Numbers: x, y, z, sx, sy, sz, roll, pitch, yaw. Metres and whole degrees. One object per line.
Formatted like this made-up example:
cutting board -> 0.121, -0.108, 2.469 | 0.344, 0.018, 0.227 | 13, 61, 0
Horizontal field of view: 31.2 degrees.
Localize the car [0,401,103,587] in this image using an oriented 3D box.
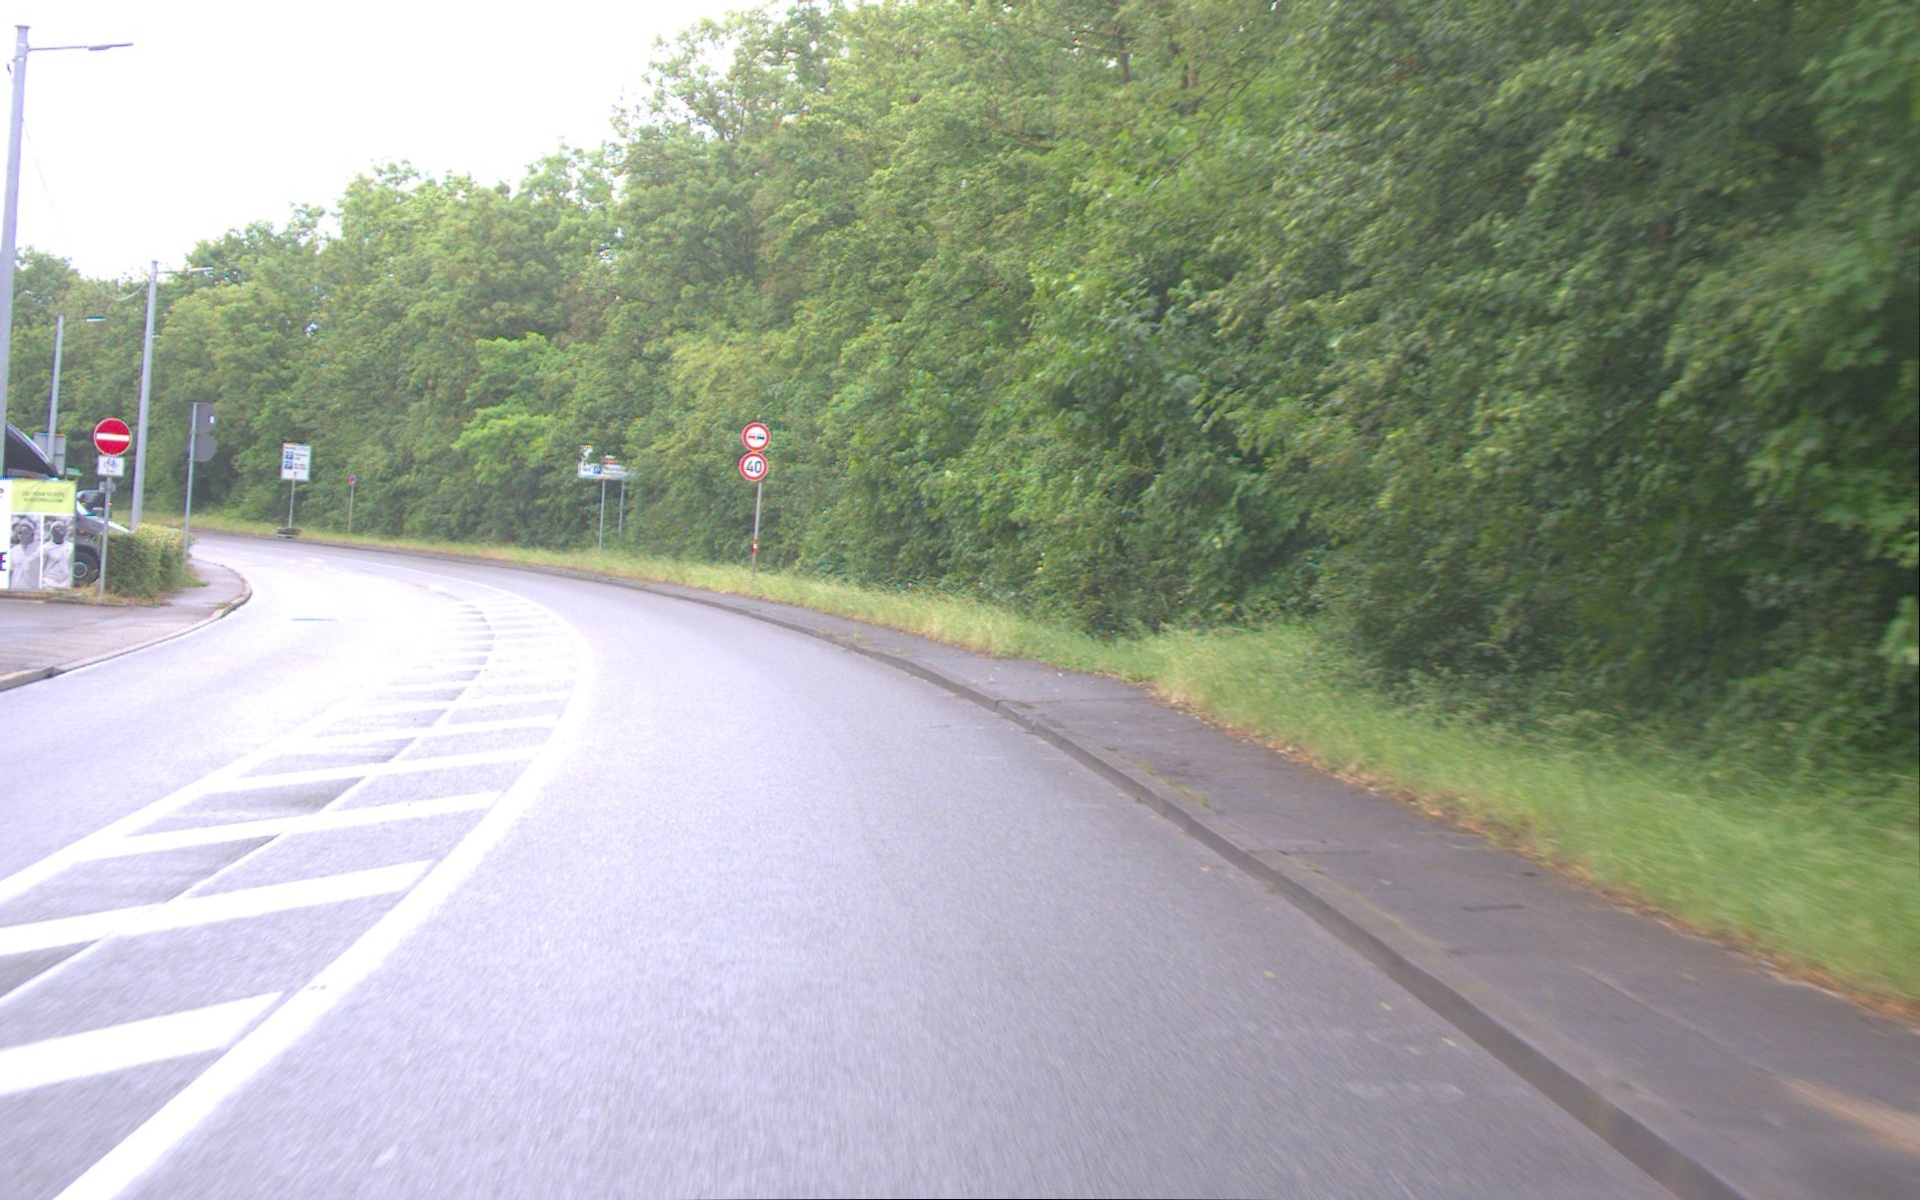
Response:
car -> -19.445, -2.055, 65.492 | 5.945, 3.490, 2.001 | 1, 1, -15
